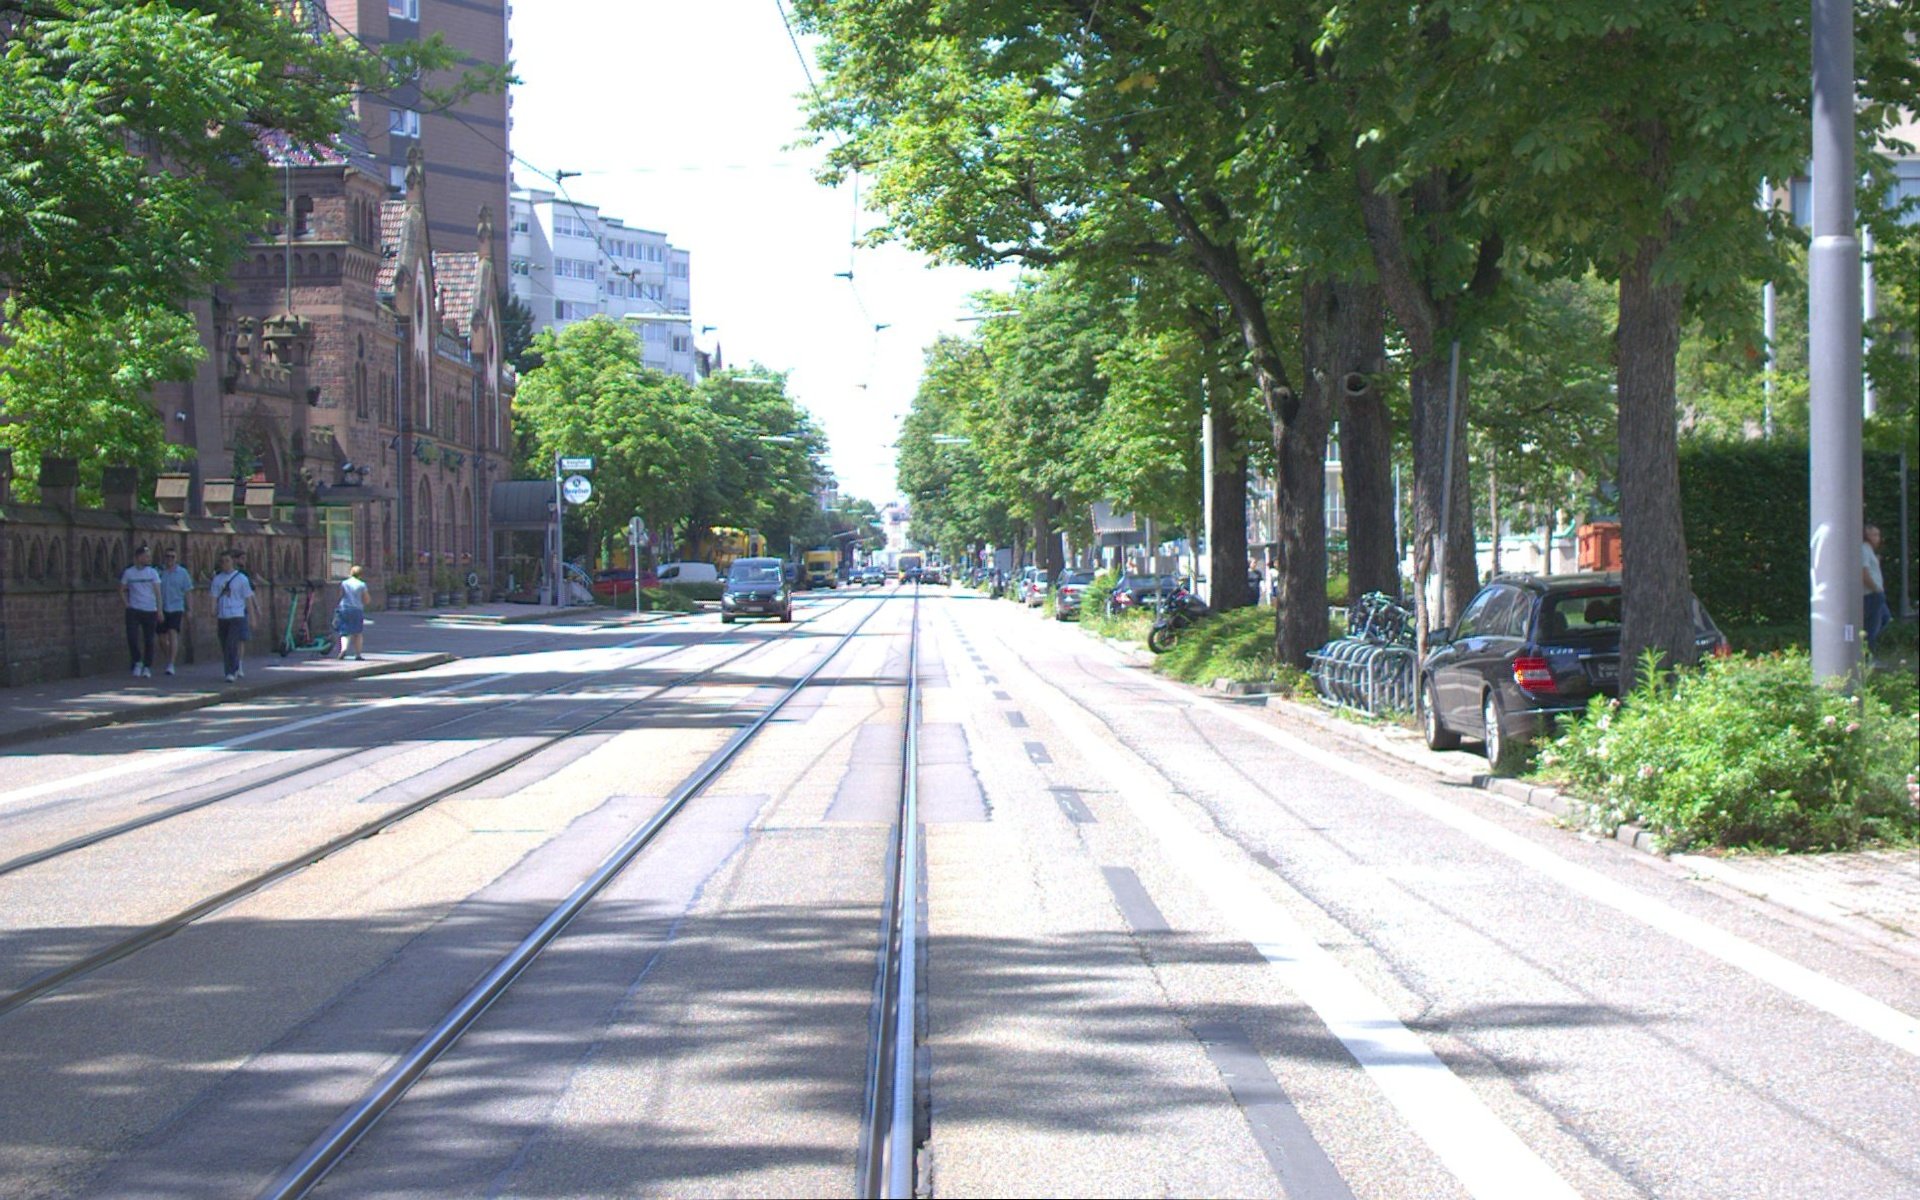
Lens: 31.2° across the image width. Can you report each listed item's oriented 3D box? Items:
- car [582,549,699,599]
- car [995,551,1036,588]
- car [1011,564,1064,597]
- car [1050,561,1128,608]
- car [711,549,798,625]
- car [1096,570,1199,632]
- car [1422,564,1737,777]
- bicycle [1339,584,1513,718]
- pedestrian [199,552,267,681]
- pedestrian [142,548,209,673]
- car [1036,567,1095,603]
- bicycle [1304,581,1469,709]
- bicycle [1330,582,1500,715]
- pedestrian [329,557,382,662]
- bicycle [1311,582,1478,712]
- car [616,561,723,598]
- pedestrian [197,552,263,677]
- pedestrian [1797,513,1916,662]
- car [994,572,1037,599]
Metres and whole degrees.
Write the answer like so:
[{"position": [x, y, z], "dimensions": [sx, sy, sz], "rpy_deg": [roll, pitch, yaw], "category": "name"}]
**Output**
[{"position": [-12.359, -1.010, 132.862], "dimensions": [3.987, 1.798, 2.000], "rpy_deg": [1, 1, -33], "category": "car"}, {"position": [2.914, -1.625, 181.283], "dimensions": [1.993, 1.897, 4.000], "rpy_deg": [-1, 1, -1], "category": "car"}, {"position": [3.161, -0.802, 140.833], "dimensions": [1.993, 1.305, 4.000], "rpy_deg": [-1, 1, -1], "category": "car"}, {"position": [3.624, -0.450, 97.257], "dimensions": [1.993, 1.305, 4.000], "rpy_deg": [-1, 1, -1], "category": "car"}, {"position": [-5.579, -0.373, 93.639], "dimensions": [1.993, 2.007, 4.000], "rpy_deg": [-1, 1, 2], "category": "car"}, {"position": [4.106, 0.007, 75.759], "dimensions": [1.993, 1.305, 4.000], "rpy_deg": [-1, 1, -1], "category": "car"}, {"position": [4.679, 0.484, 26.471], "dimensions": [1.634, 1.496, 4.000], "rpy_deg": [-1, 1, -1], "category": "car"}, {"position": [4.380, 0.475, 32.371], "dimensions": [1.564, 1.237, 0.437], "rpy_deg": [-1, 0, 1], "category": "bicycle"}, {"position": [-9.808, 0.220, 46.403], "dimensions": [0.743, 1.722, 0.867], "rpy_deg": [0, 0, -1], "category": "pedestrian"}, {"position": [-10.913, 0.145, 47.855], "dimensions": [0.743, 1.722, 0.867], "rpy_deg": [0, 0, -1], "category": "pedestrian"}, {"position": [3.907, -0.557, 127.829], "dimensions": [1.993, 1.305, 4.000], "rpy_deg": [-1, 1, -1], "category": "car"}, {"position": [4.210, 0.446, 33.985], "dimensions": [1.564, 1.237, 0.437], "rpy_deg": [-1, 0, 1], "category": "bicycle"}, {"position": [4.344, 0.462, 32.874], "dimensions": [1.564, 1.237, 0.437], "rpy_deg": [-1, 0, 1], "category": "bicycle"}, {"position": [-10.014, 0.156, 57.008], "dimensions": [0.743, 1.722, 0.867], "rpy_deg": [0, 0, -2], "category": "pedestrian"}, {"position": [4.220, 0.453, 33.457], "dimensions": [1.564, 1.237, 0.437], "rpy_deg": [-1, 0, 1], "category": "bicycle"}, {"position": [-14.022, -0.977, 166.003], "dimensions": [4.728, 1.711, 2.000], "rpy_deg": [-1, 1, -28], "category": "car"}, {"position": [-10.149, 0.191, 47.821], "dimensions": [0.743, 1.722, 0.867], "rpy_deg": [0, 0, -1], "category": "pedestrian"}, {"position": [11.077, -0.158, 42.499], "dimensions": [1.215, 1.821, 0.831], "rpy_deg": [-1, 0, -4], "category": "pedestrian"}, {"position": [2.745, -0.740, 171.640], "dimensions": [1.993, 1.305, 4.000], "rpy_deg": [-1, 1, -1], "category": "car"}]
